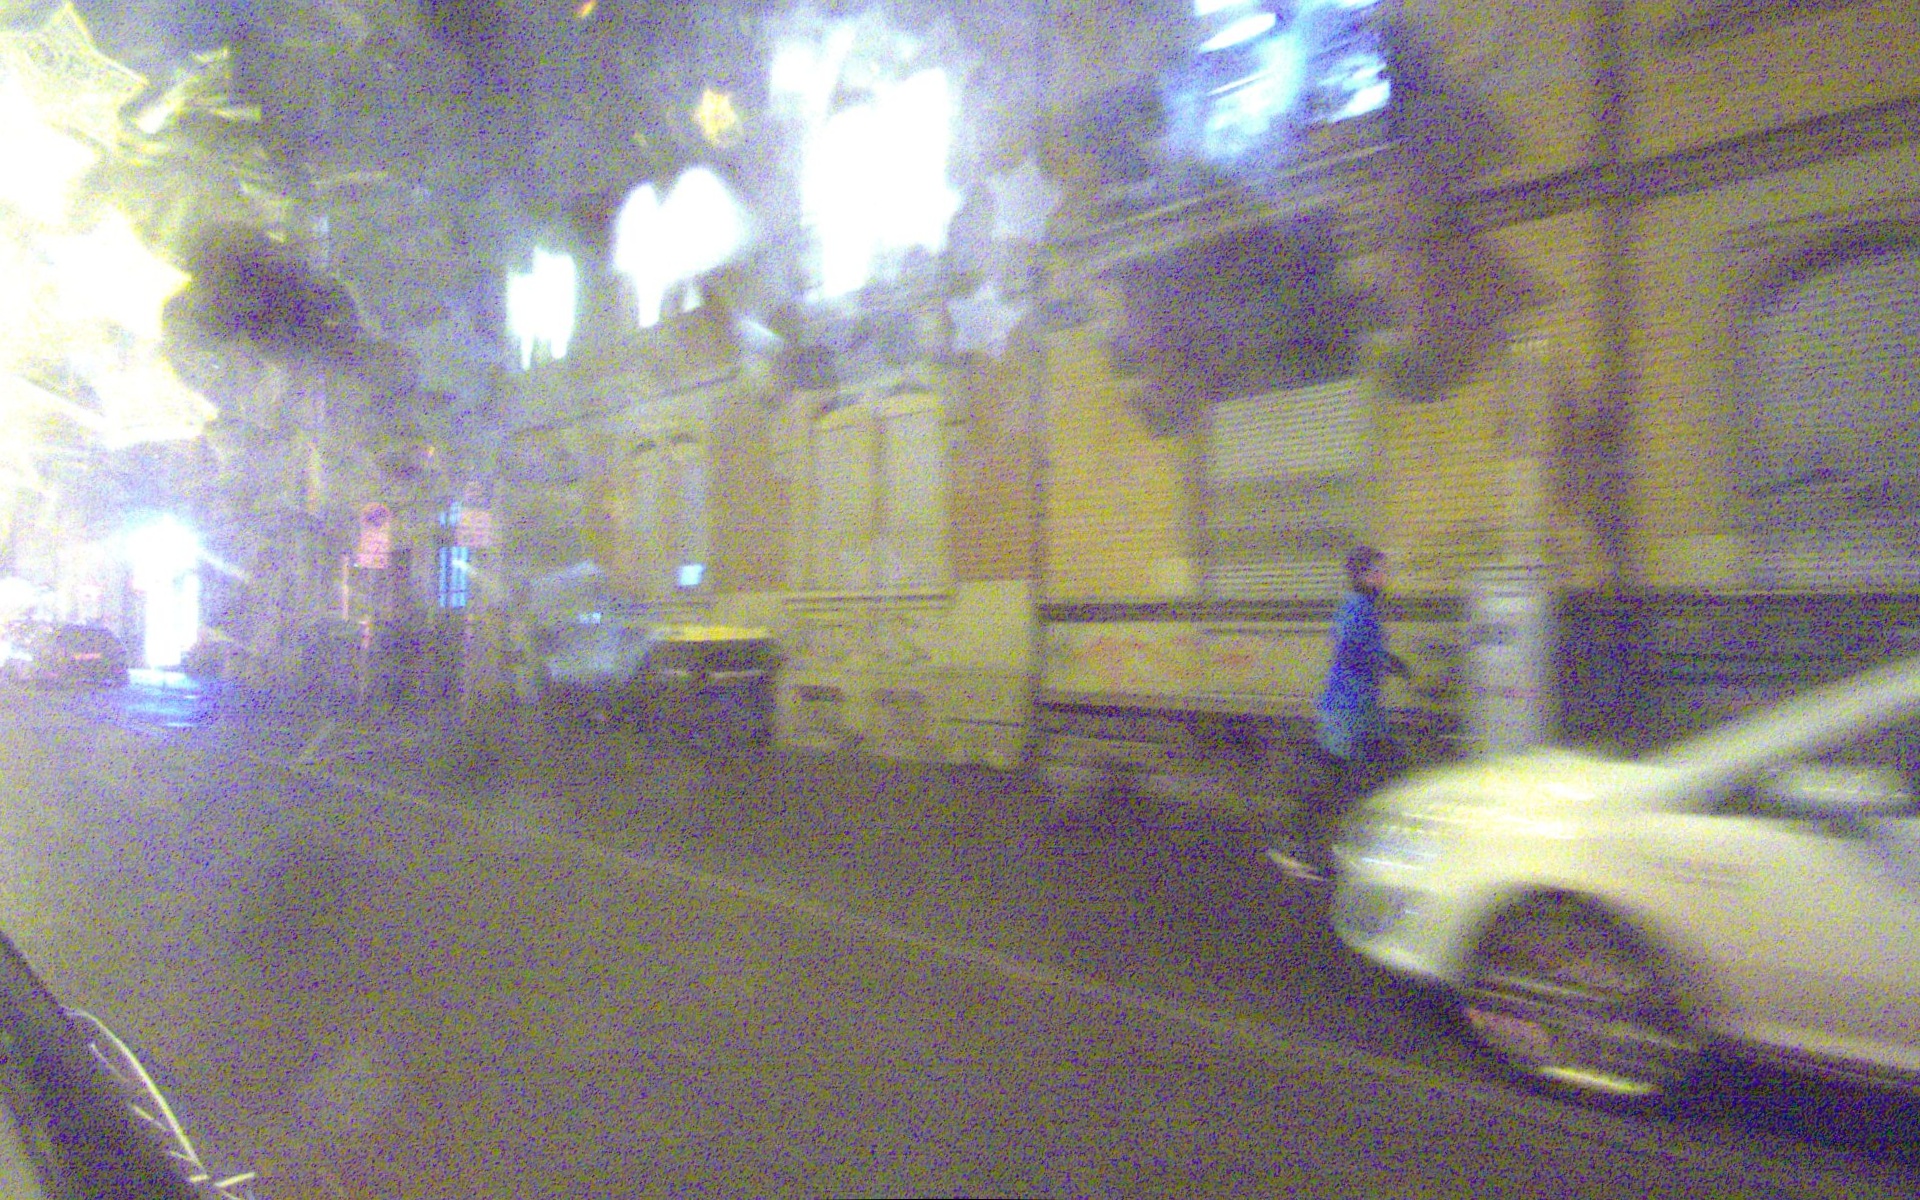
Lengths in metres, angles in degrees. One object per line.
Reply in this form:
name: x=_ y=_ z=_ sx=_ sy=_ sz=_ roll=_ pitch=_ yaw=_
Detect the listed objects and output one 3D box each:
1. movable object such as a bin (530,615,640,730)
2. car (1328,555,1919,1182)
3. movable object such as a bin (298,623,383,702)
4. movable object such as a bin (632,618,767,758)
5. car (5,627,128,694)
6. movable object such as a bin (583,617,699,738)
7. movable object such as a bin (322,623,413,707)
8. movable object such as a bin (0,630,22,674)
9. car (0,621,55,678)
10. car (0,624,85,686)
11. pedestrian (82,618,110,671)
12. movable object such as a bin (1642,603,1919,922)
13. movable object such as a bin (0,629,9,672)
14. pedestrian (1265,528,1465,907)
movable object such as a bin: x=-5.048 y=0.940 z=13.608 sx=1.133 sy=1.430 sz=0.964 roll=-2 pitch=-1 yaw=43
car: x=3.162 y=0.634 z=2.684 sx=3.792 sy=1.494 sz=1.570 roll=-2 pitch=-2 yaw=42
movable object such as a bin: x=-11.975 y=1.178 z=19.549 sx=1.154 sy=1.430 sz=1.128 roll=-2 pitch=-1 yaw=43
movable object such as a bin: x=-2.878 y=0.925 z=11.158 sx=1.133 sy=1.409 sz=0.964 roll=-2 pitch=-1 yaw=43
car: x=-21.736 y=1.417 z=24.569 sx=4.312 sy=1.466 sz=1.669 roll=-2 pitch=-2 yaw=41
movable object such as a bin: x=-4.063 y=0.945 z=12.871 sx=1.133 sy=1.430 sz=0.964 roll=-2 pitch=-1 yaw=43
movable object such as a bin: x=-10.816 y=1.147 z=18.477 sx=1.248 sy=1.430 sz=1.128 roll=-2 pitch=-1 yaw=43
movable object such as a bin: x=-32.809 y=1.761 z=34.420 sx=1.151 sy=1.470 sz=1.248 roll=-2 pitch=-1 yaw=43
car: x=-30.127 y=1.538 z=32.141 sx=3.719 sy=1.719 sz=1.587 roll=-2 pitch=-2 yaw=41
car: x=-25.813 y=1.503 z=28.227 sx=4.023 sy=1.564 sz=1.587 roll=-2 pitch=-2 yaw=41
pedestrian: x=-30.073 y=1.544 z=35.218 sx=0.549 sy=1.795 sz=0.632 roll=-2 pitch=-3 yaw=41
movable object such as a bin: x=4.310 y=0.736 z=5.198 sx=1.158 sy=1.409 sz=1.036 roll=-2 pitch=-1 yaw=43
movable object such as a bin: x=-33.925 y=1.761 z=35.205 sx=1.107 sy=1.470 sz=1.152 roll=-2 pitch=-1 yaw=43
pedestrian: x=2.145 y=0.570 z=5.374 sx=0.794 sy=1.834 sz=0.585 roll=-2 pitch=0 yaw=41
